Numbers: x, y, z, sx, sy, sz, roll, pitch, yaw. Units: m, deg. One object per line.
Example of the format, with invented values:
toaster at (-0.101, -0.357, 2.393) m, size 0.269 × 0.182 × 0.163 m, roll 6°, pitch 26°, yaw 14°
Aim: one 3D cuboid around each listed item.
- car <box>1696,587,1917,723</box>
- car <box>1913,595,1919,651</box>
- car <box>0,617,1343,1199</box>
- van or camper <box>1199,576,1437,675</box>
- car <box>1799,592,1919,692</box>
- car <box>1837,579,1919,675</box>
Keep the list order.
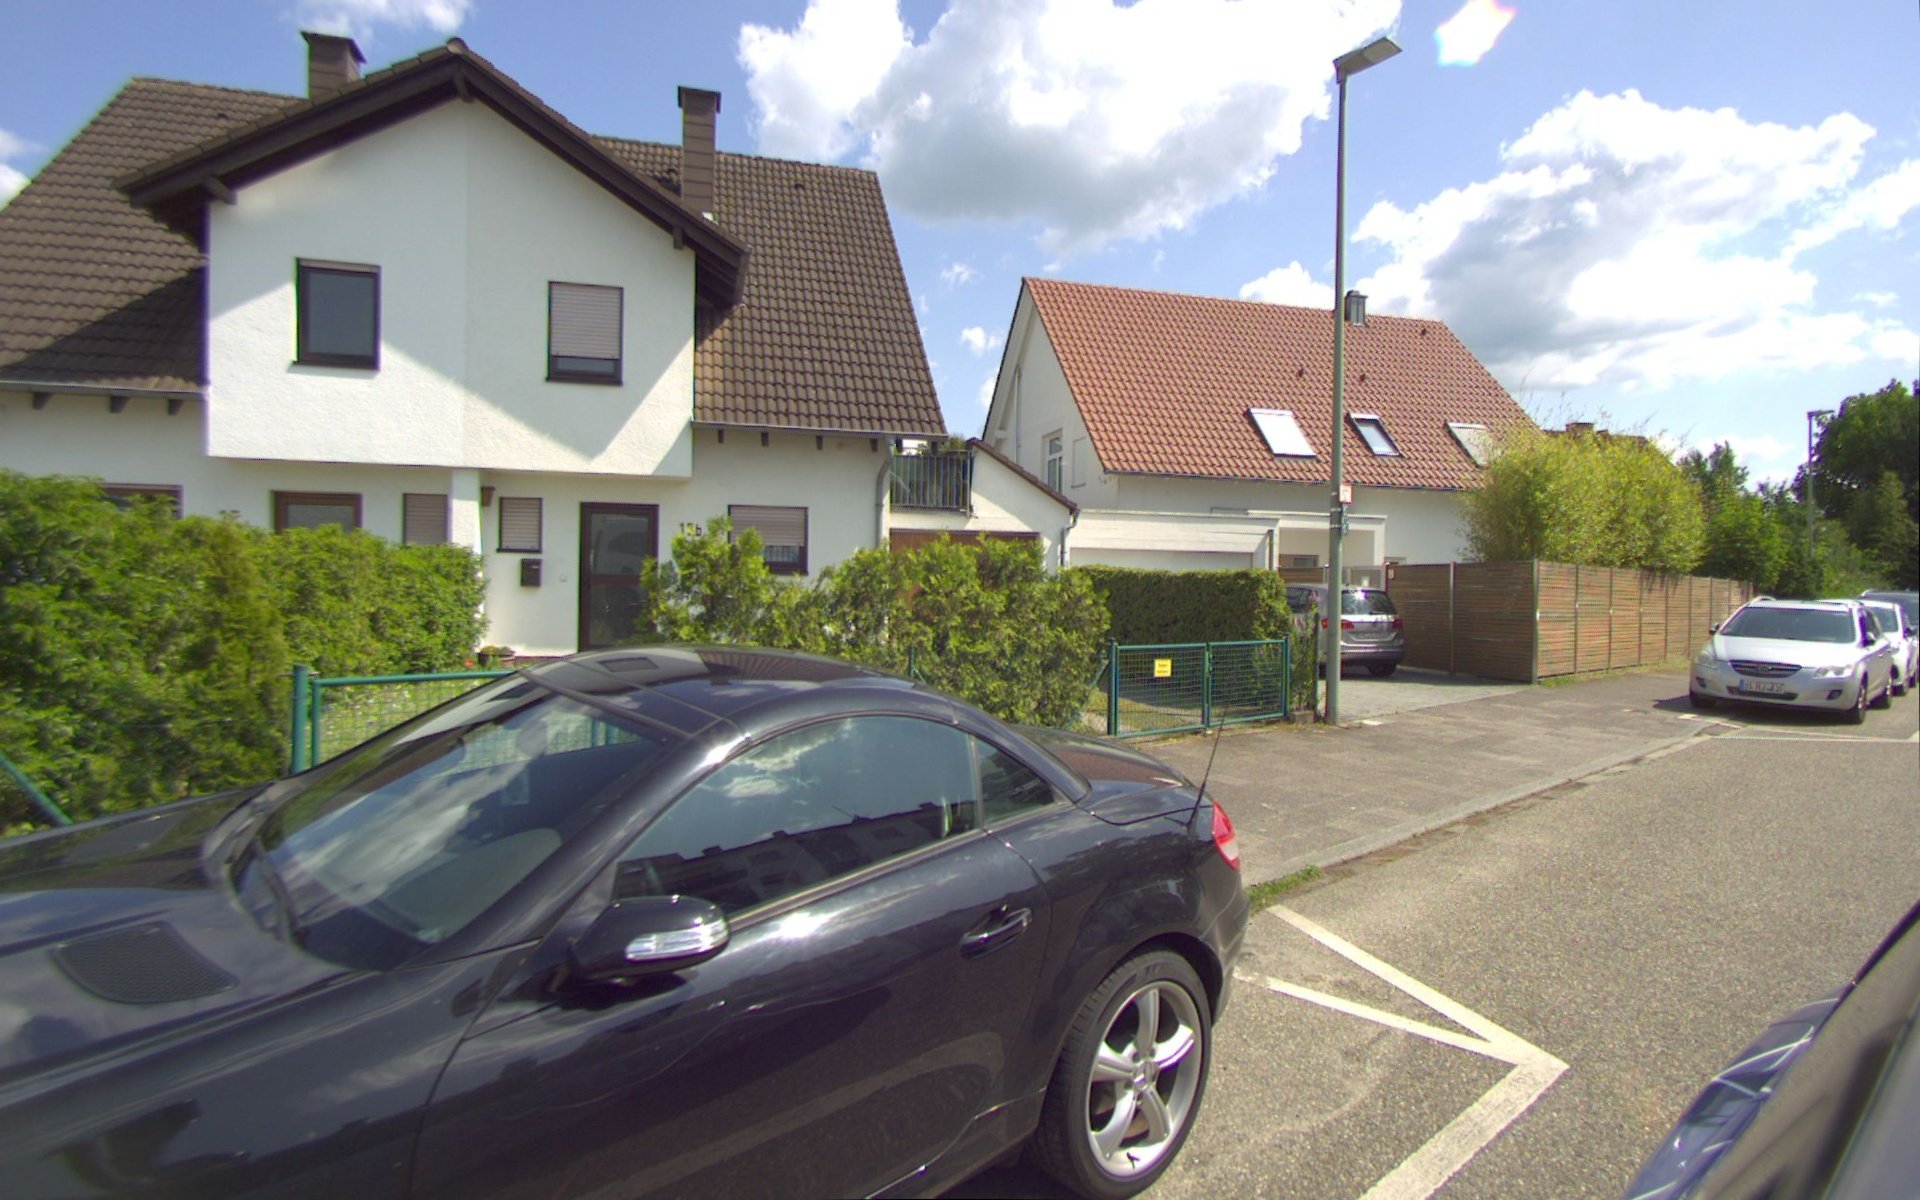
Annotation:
car at (11.655, 0.639, 13.833) m, size 4.218 × 1.572 × 1.747 m, roll 0°, pitch 0°, yaw -42°
car at (28.341, 0.649, 28.504) m, size 4.221 × 1.524 × 1.731 m, roll 0°, pitch 2°, yaw -41°
car at (-0.903, 0.753, 2.403) m, size 3.892 × 1.334 × 1.714 m, roll 0°, pitch 1°, yaw -40°
van or camper at (6.239, 0.369, 18.187) m, size 1.958 × 1.549 × 4.009 m, roll 1°, pitch 1°, yaw -18°
car at (15.571, 0.664, 17.306) m, size 3.609 × 1.524 × 1.444 m, roll 1°, pitch -1°, yaw -44°
car at (19.726, 0.517, 20.922) m, size 4.628 × 1.796 × 1.894 m, roll 0°, pitch 1°, yaw -43°
